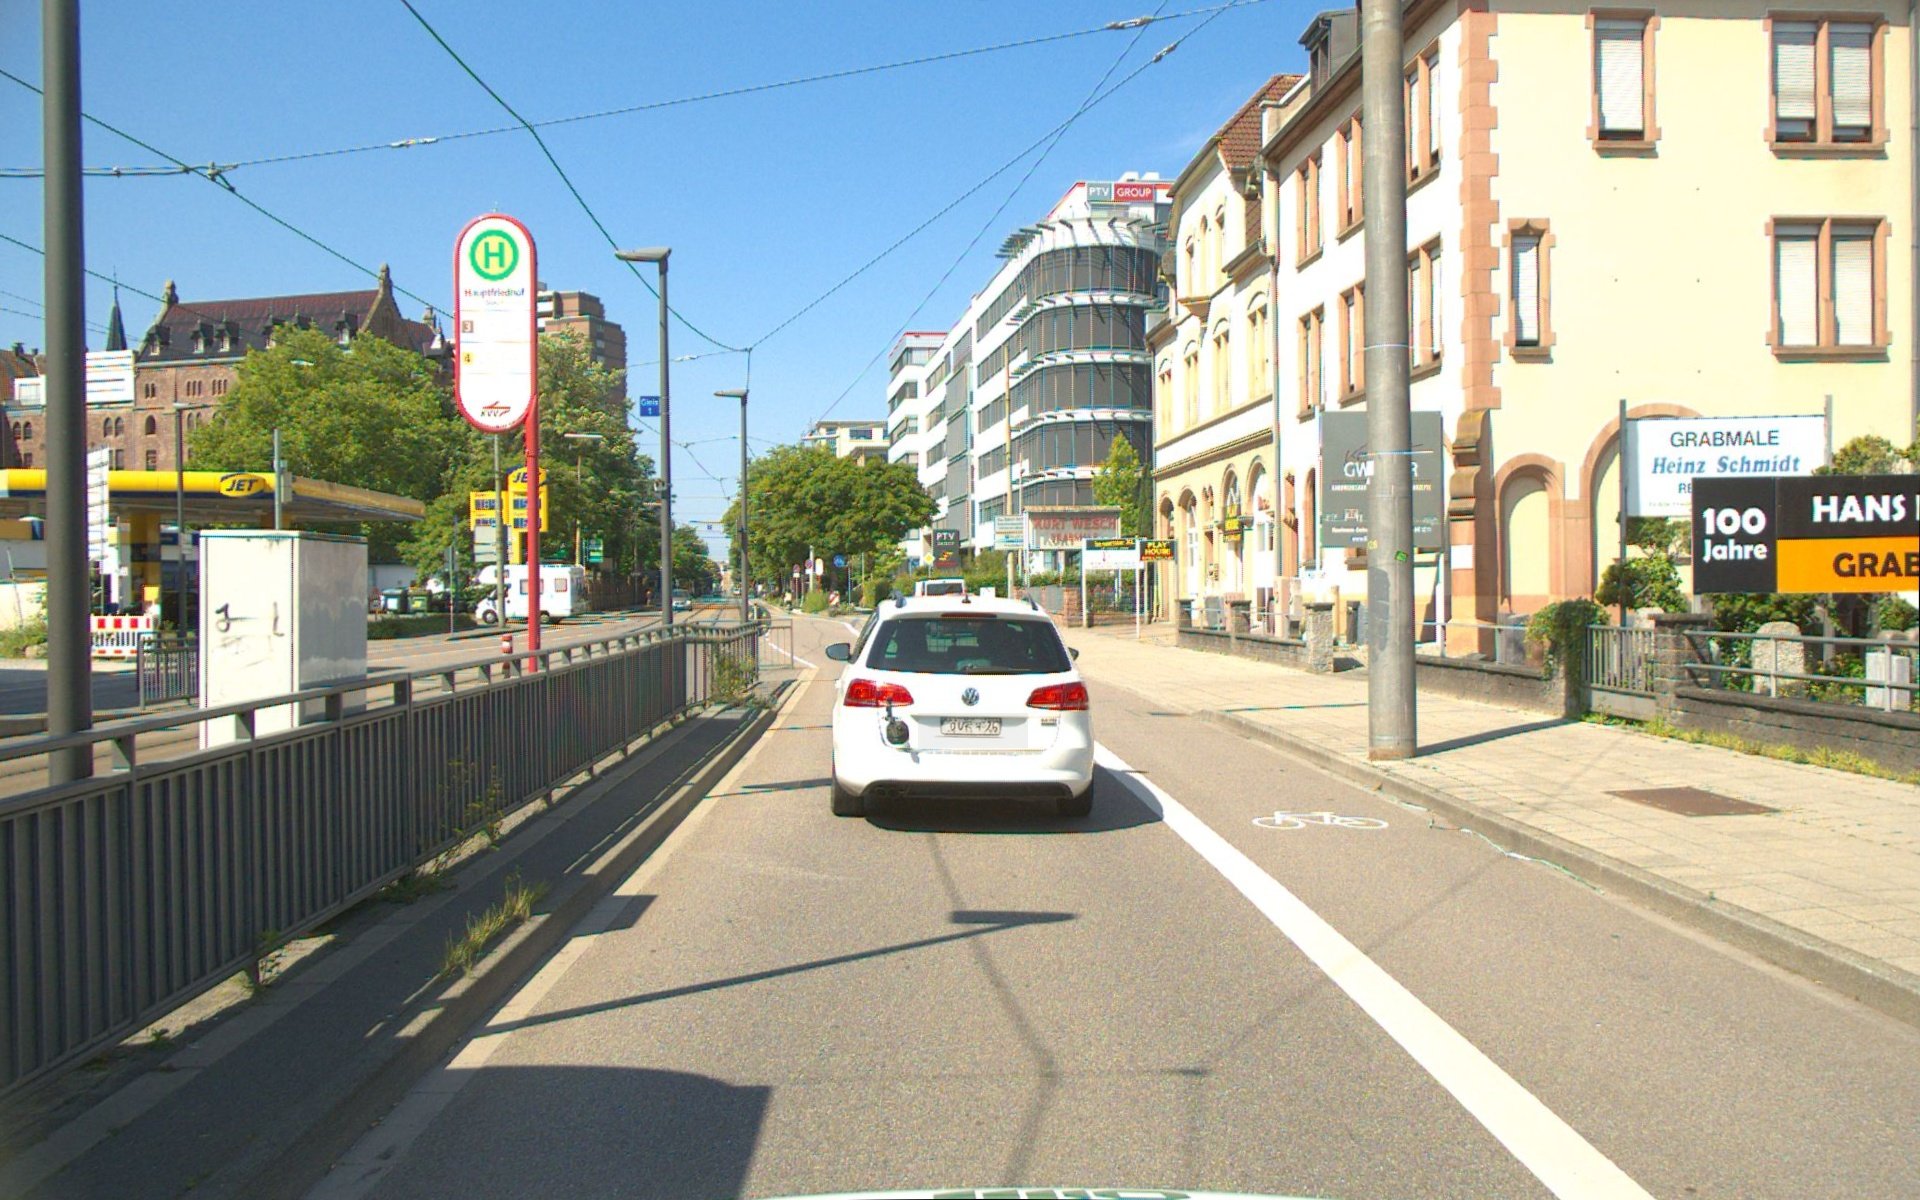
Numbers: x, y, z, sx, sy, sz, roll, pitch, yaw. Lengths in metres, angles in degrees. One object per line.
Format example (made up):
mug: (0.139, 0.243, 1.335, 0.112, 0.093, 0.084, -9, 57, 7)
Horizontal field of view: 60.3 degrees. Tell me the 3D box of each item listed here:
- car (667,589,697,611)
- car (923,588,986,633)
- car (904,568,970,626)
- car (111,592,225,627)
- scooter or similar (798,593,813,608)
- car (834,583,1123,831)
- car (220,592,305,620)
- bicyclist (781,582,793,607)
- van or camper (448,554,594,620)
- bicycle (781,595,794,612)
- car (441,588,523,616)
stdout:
car: (-20.835, -0.013, 124.119, 1.711, 1.598, 3.889, -2, 0, -3)
car: (-0.232, 0.349, 58.649, 1.689, 1.468, 4.305, -3, 1, -7)
car: (-0.937, -0.112, 64.908, 1.939, 2.090, 5.182, -3, 1, -7)
car: (-32.229, 0.363, 67.427, 1.661, 1.326, 4.393, 1, 0, 17)
scooter or similar: (-12.161, 0.014, 130.168, 1.120, 1.174, 0.493, 0, 0, -2)
car: (-0.047, 0.620, 12.141, 1.719, 1.467, 4.408, 0, 1, -5)
car: (-38.690, 0.341, 91.727, 4.070, 1.554, 1.938, 0, 0, 18)
bicyclist: (-11.342, -0.366, 108.477, 0.771, 1.657, 0.737, -1, 0, -8)
van or camper: (-22.348, -0.654, 84.382, 6.552, 3.019, 2.617, 2, 0, 2)
bicycle: (-11.274, 0.216, 108.261, 0.795, 1.097, 2.009, 0, 0, -7)
car: (-28.742, 0.113, 99.509, 1.911, 1.653, 4.561, 0, 0, 36)
